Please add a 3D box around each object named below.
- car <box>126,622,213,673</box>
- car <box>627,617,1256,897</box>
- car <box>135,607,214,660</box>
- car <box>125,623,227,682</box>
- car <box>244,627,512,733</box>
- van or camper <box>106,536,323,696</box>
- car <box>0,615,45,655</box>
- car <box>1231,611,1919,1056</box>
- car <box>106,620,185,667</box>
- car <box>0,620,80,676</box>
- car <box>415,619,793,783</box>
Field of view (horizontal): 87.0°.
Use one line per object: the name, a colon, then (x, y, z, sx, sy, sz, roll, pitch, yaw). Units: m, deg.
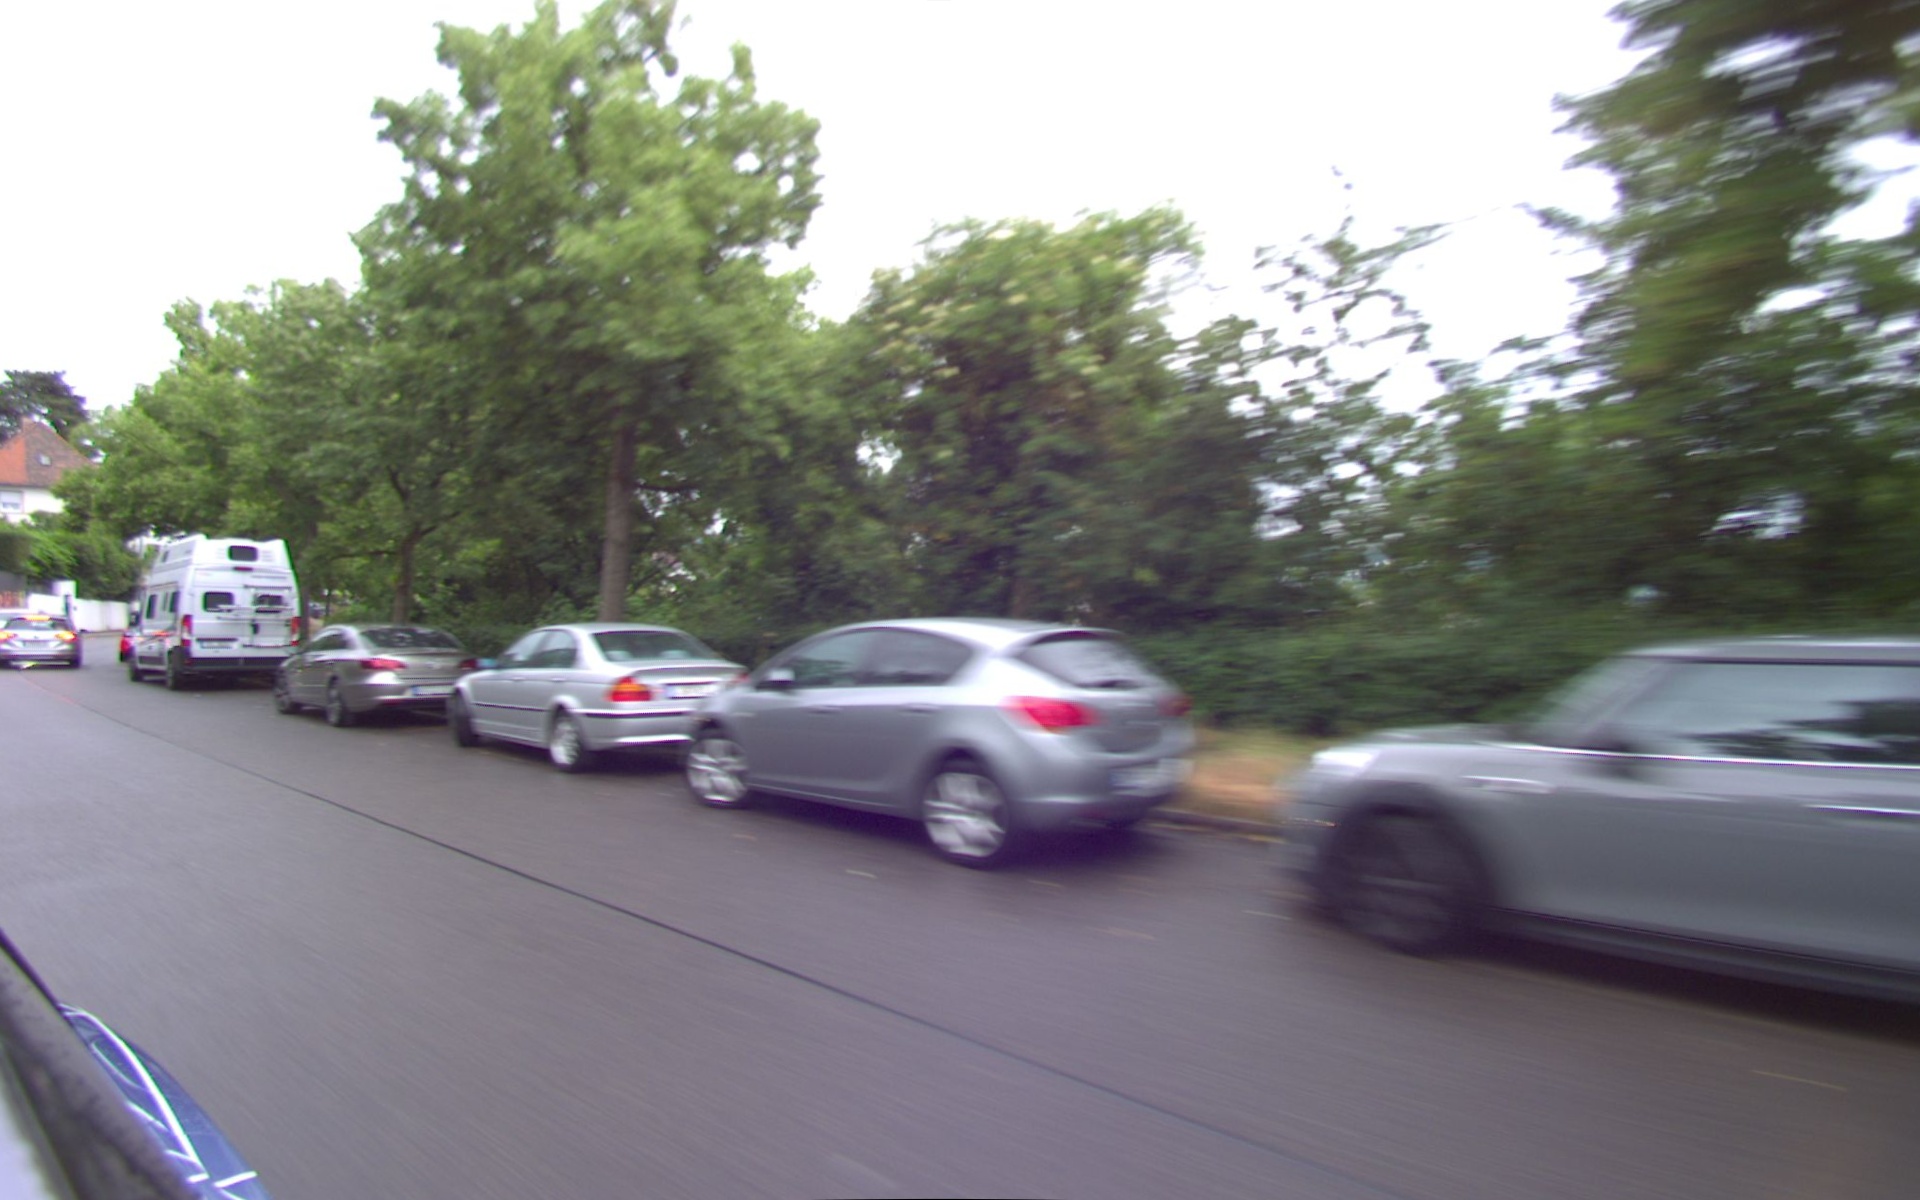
car: (-24.033, 1.427, 30.755, 1.929, 1.419, 3.550, 4, -4, -39)
car: (-0.418, 0.866, 7.600, 4.715, 1.416, 1.971, 0, -2, 44)
car: (-33.026, 1.430, 42.686, 1.927, 1.983, 5.016, 5, -4, -31)
car: (-20.659, 1.360, 26.639, 1.929, 1.419, 4.215, 4, -4, -39)
car: (-8.864, 1.114, 15.160, 5.355, 1.319, 1.971, -2, -4, 43)
van or camper: (-16.639, 0.374, 22.407, 6.560, 3.050, 2.479, 0, -3, 42)
car: (-40.601, 1.450, 43.066, 1.999, 1.641, 4.238, 1, -1, -36)
car: (3.713, 0.791, 4.030, 4.710, 1.416, 1.973, 0, -2, 40)
car: (-27.957, 1.472, 34.848, 1.929, 1.472, 4.584, 4, -4, -38)
car: (-25.653, 1.268, 27.962, 1.861, 1.413, 4.260, 2, -1, -43)
car: (-4.073, 0.976, 11.122, 4.714, 1.416, 1.971, -2, -4, 43)
